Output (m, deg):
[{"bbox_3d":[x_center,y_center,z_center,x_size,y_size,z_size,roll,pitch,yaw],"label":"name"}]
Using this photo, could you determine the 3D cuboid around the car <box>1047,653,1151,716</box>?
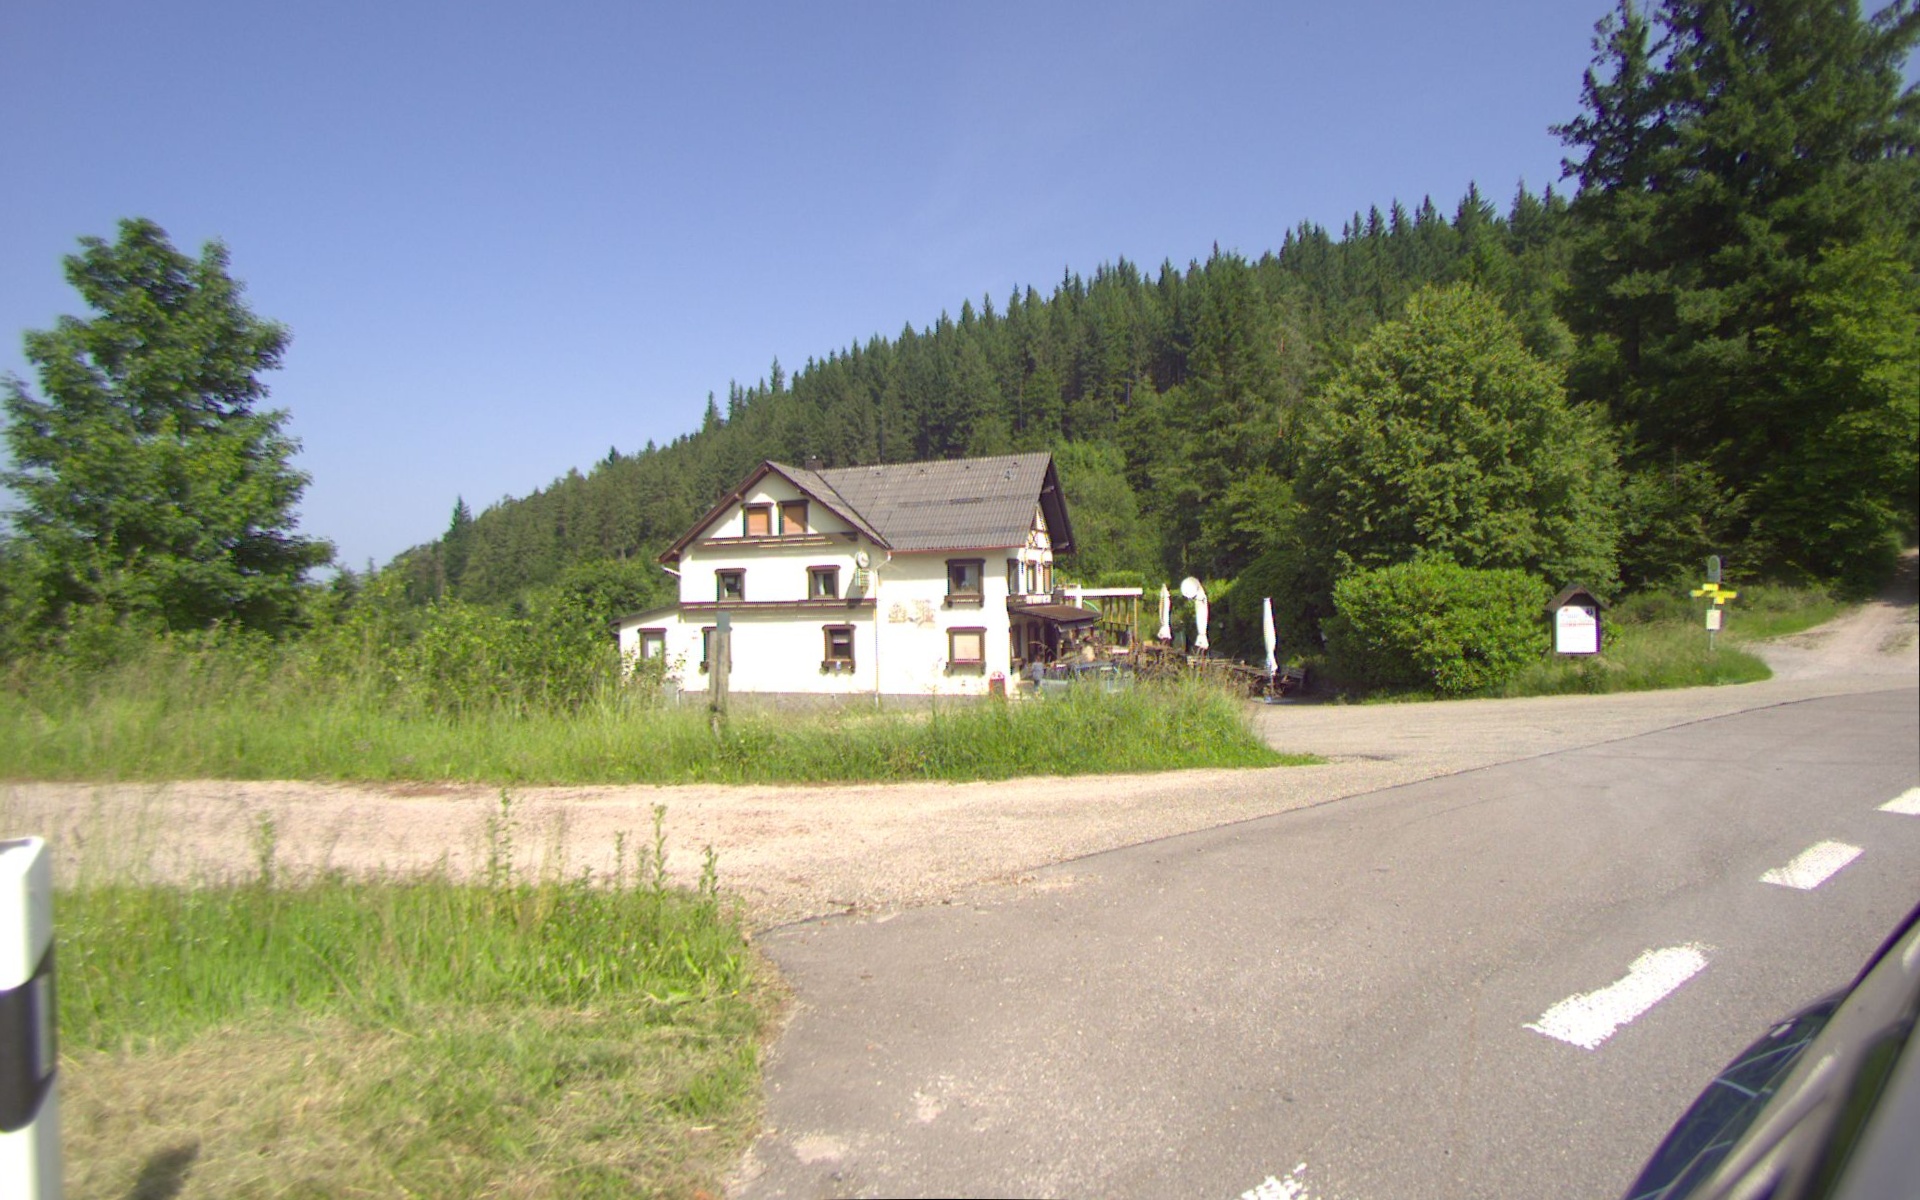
[{"bbox_3d":[4.529,2.741,33.736,1.938,1.642,4.485,-6,-1,-11],"label":"car"}]
